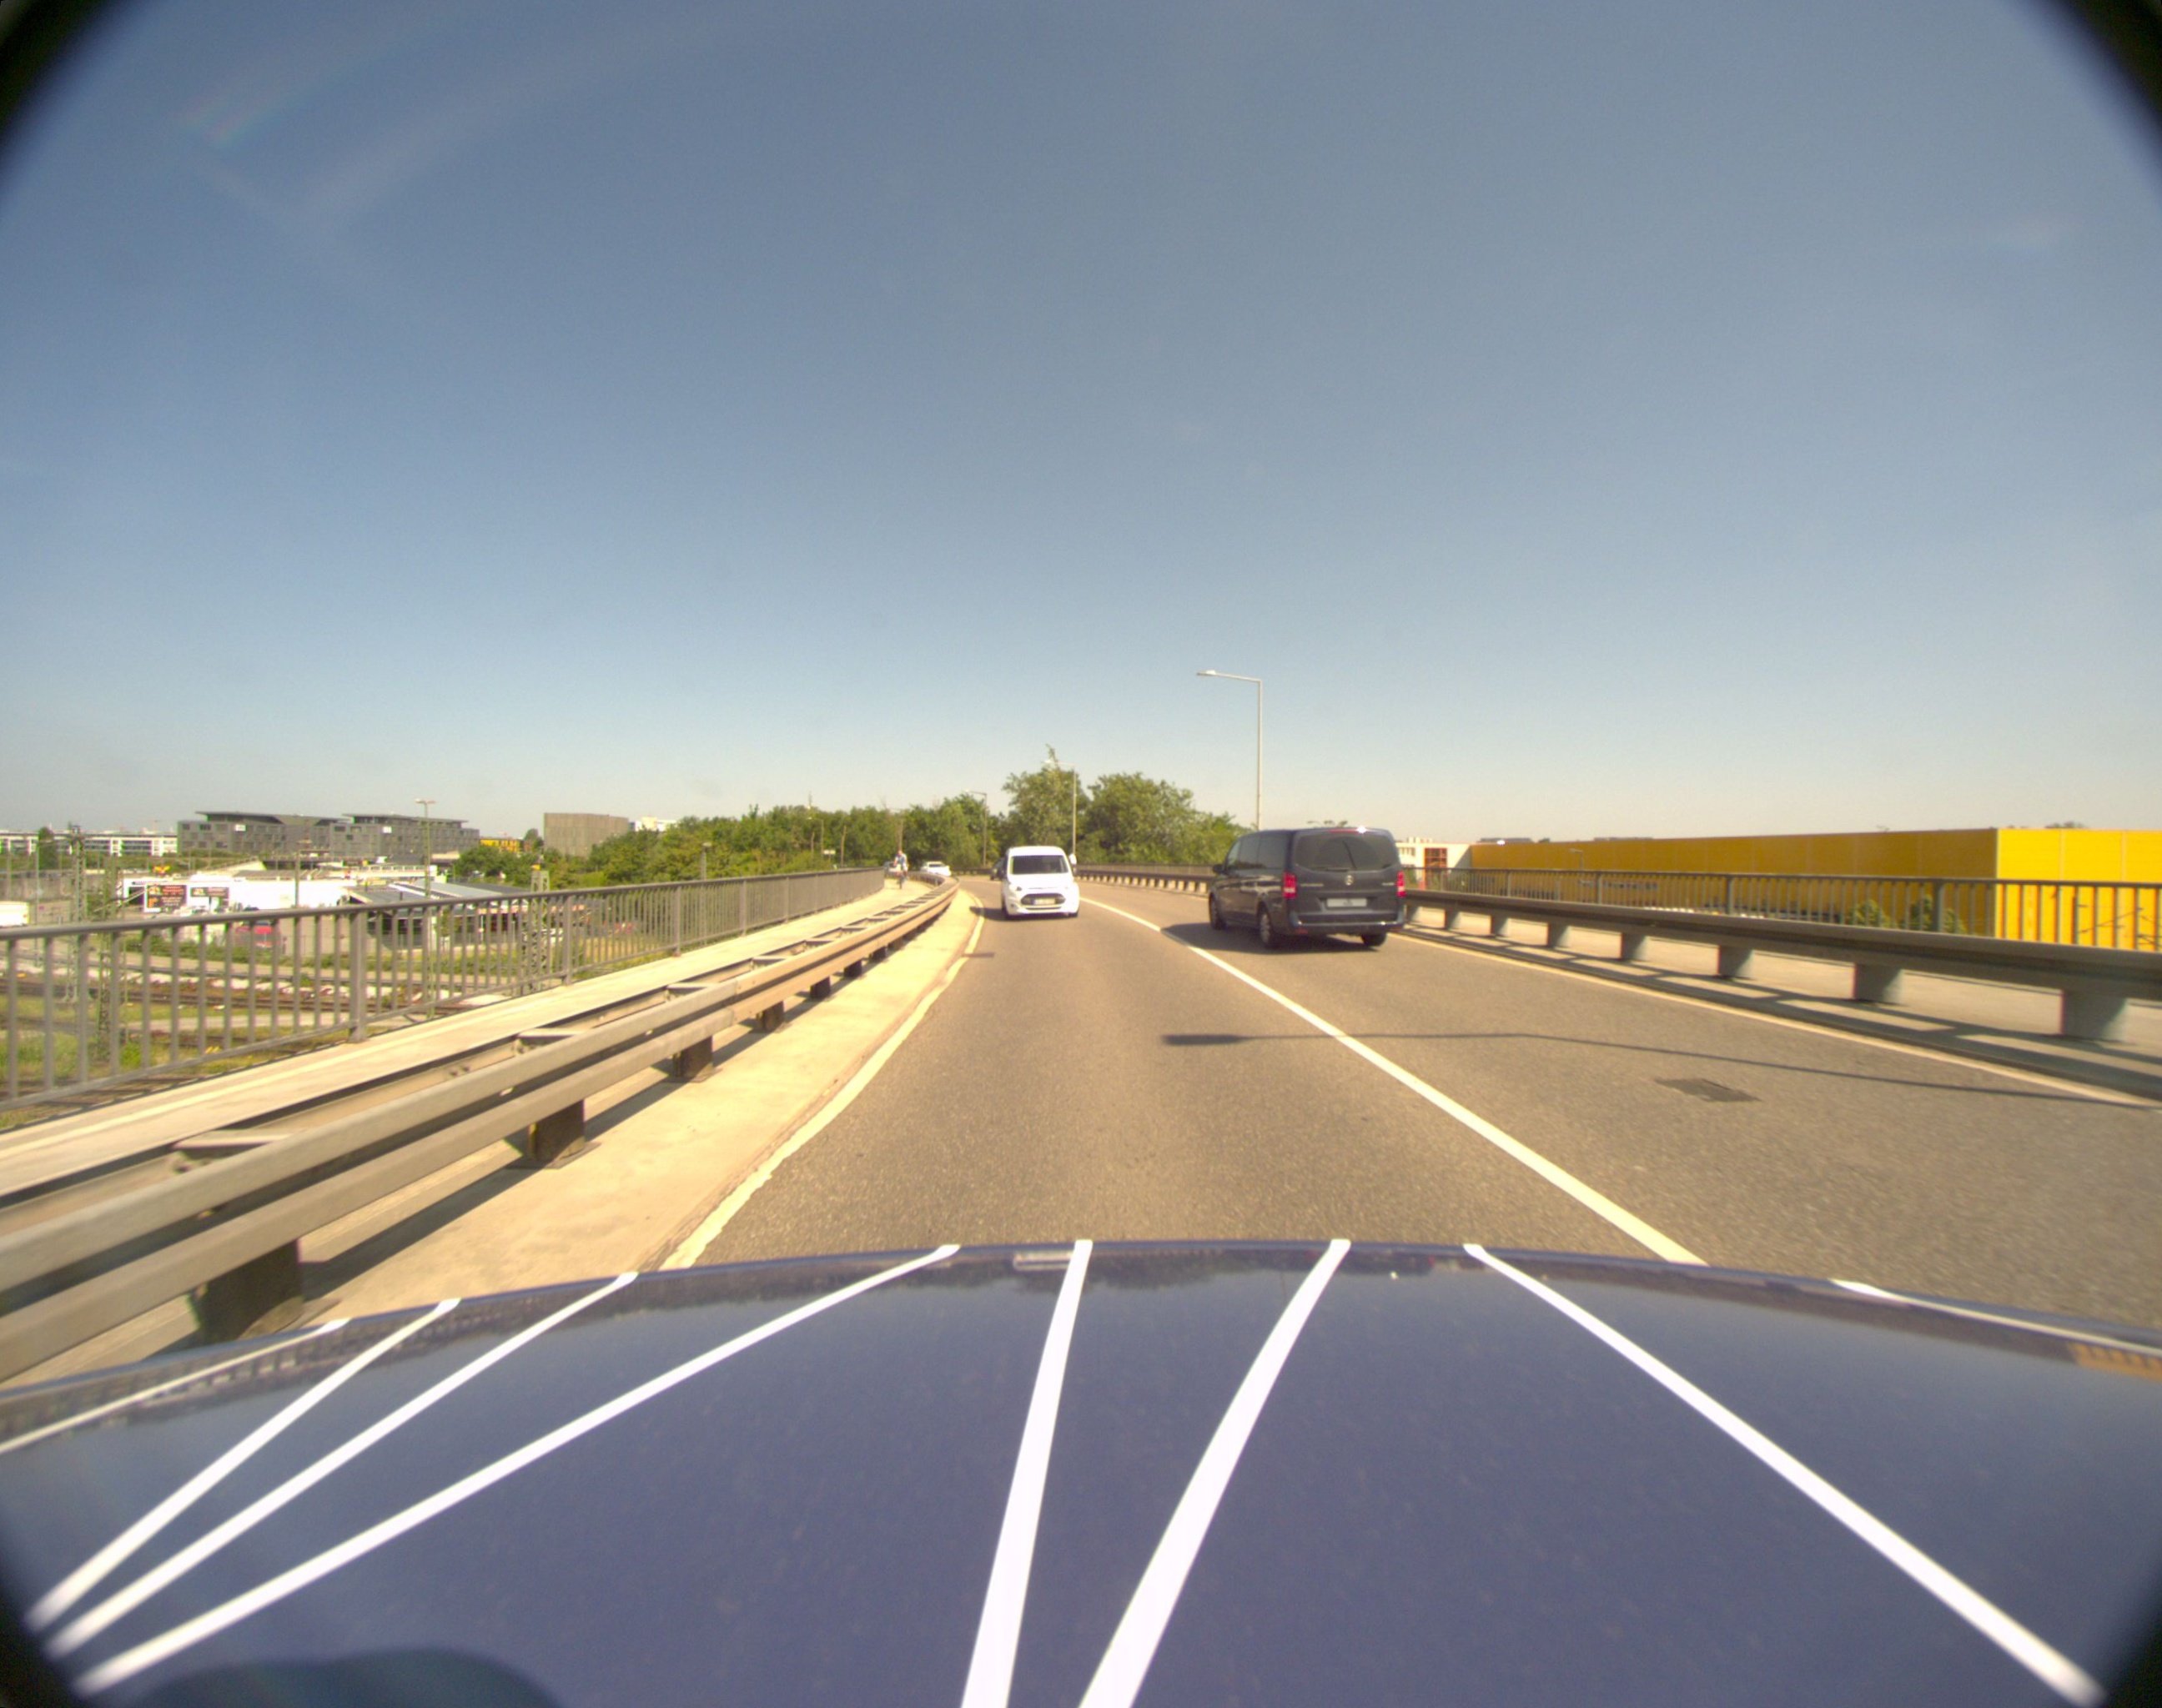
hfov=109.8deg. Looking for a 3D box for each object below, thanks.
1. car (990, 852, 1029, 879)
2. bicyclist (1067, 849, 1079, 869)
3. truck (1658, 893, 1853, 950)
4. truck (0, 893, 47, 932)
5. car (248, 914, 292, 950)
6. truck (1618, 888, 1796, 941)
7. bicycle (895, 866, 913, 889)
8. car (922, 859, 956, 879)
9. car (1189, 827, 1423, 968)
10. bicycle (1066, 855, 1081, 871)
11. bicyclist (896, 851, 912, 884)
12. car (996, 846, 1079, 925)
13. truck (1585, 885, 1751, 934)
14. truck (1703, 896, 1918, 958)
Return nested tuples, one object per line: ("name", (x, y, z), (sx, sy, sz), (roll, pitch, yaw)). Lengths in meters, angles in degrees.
("car", (-4.974, 0.784, 52.506), (1.681, 1.717, 3.700), (-2, 1, -22))
("bicyclist", (-0.558, 0.342, 54.799), (0.610, 1.430, 1.077), (1, 1, -13))
("truck", (77.559, 7.686, 87.779), (17.537, 5.644, 5.975), (-1, 1, -2))
("truck", (-124.928, 6.746, 89.064), (13.234, 4.004, 3.832), (-1, -2, 34))
("car", (-76.814, 7.329, 71.975), (5.362, 2.650, 2.311), (1, 7, 40))
("truck", (77.282, 7.401, 94.121), (17.537, 5.644, 5.787), (-1, 1, -2))
("bicycle", (-8.241, 1.070, 35.308), (0.705, 1.013, 1.843), (2, -1, -16))
("car", (-11.351, 1.151, 60.628), (1.849, 1.479, 4.144), (-2, 0, -21))
("car", (3.576, 0.634, 13.569), (2.081, 1.877, 5.913), (-3, 0, -3))
("bicycle", (-0.541, 0.655, 54.758), (0.614, 1.128, 2.147), (2, -1, -13))
("bicyclist", (-8.224, 0.629, 35.324), (0.661, 1.510, 0.802), (2, -1, -16))
("car", (-1.131, 0.730, 20.035), (1.898, 1.785, 4.446), (-2, 0, -3))
("truck", (77.134, 7.217, 100.299), (17.537, 5.644, 5.975), (-1, 1, -2))
("truck", (77.520, 7.691, 81.113), (17.537, 5.644, 5.975), (-1, 1, -2))
